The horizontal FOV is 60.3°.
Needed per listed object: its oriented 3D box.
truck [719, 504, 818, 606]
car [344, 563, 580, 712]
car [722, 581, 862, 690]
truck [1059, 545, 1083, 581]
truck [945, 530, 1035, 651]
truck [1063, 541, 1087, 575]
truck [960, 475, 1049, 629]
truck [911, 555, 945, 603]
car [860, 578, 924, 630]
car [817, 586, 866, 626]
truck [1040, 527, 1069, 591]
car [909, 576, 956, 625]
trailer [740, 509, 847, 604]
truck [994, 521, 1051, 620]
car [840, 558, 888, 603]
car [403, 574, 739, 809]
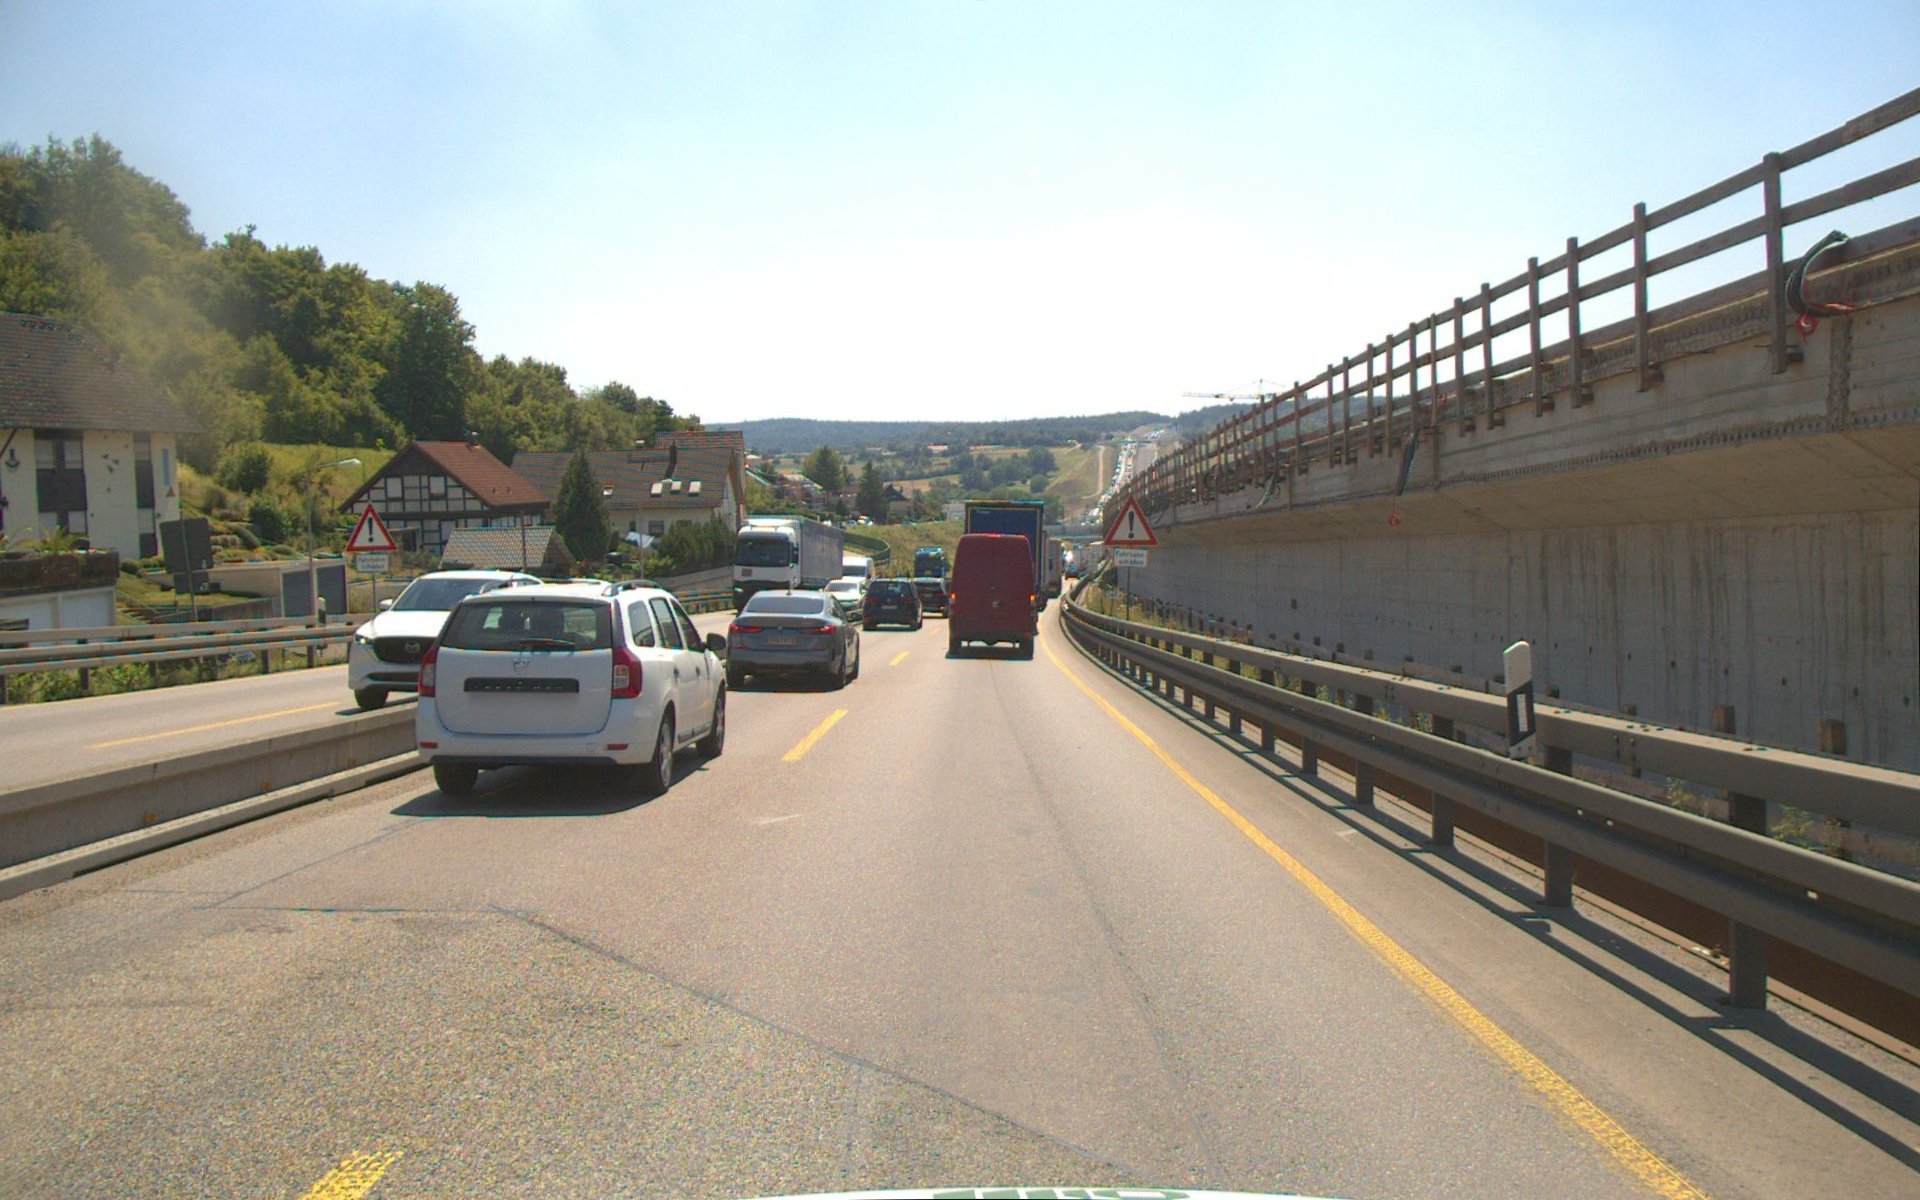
[{"bbox_3d":[-8.137,-1.874,71.105,3.069,4.150,6.883,0,1,4],"label":"truck"},{"bbox_3d":[-6.275,0.455,21.351,1.714,1.716,4.386,0,-1,0],"label":"car"},{"bbox_3d":[-2.517,0.502,25.631,1.758,1.511,4.049,2,0,-1],"label":"car"},{"bbox_3d":[14.477,-4.747,215.655,3.004,4.458,8.561,0,-1,4],"label":"truck"},{"bbox_3d":[0.672,-0.190,38.045,1.952,2.624,4.000,0,-1,1],"label":"truck"},{"bbox_3d":[16.528,-5.993,237.888,3.394,4.458,8.561,0,-1,4],"label":"truck"},{"bbox_3d":[1.681,-1.463,57.468,2.728,4.900,9.688,0,-1,4],"label":"truck"},{"bbox_3d":[-2.759,-1.801,144.062,2.456,4.034,5.177,0,-1,4],"label":"truck"},{"bbox_3d":[-2.185,0.155,54.136,1.772,1.636,3.720,0,-1,2],"label":"car"},{"bbox_3d":[-4.902,0.225,69.002,1.636,1.562,4.192,0,1,2],"label":"car"},{"bbox_3d":[6.797,-2.880,118.618,1.951,4.458,4.002,0,-1,4],"label":"truck"},{"bbox_3d":[-1.071,0.037,65.906,1.693,1.870,4.000,0,-1,1],"label":"car"},{"bbox_3d":[-7.660,-1.976,77.912,3.069,4.150,11.825,0,1,4],"label":"trailer"},{"bbox_3d":[3.375,-1.423,87.040,2.728,4.900,9.688,0,-1,4],"label":"truck"},{"bbox_3d":[-5.831,-1.198,101.230,1.962,2.649,5.984,0,1,7],"label":"car"},{"bbox_3d":[-2.889,0.621,13.191,1.618,1.509,4.266,-2,0,0],"label":"car"}]
